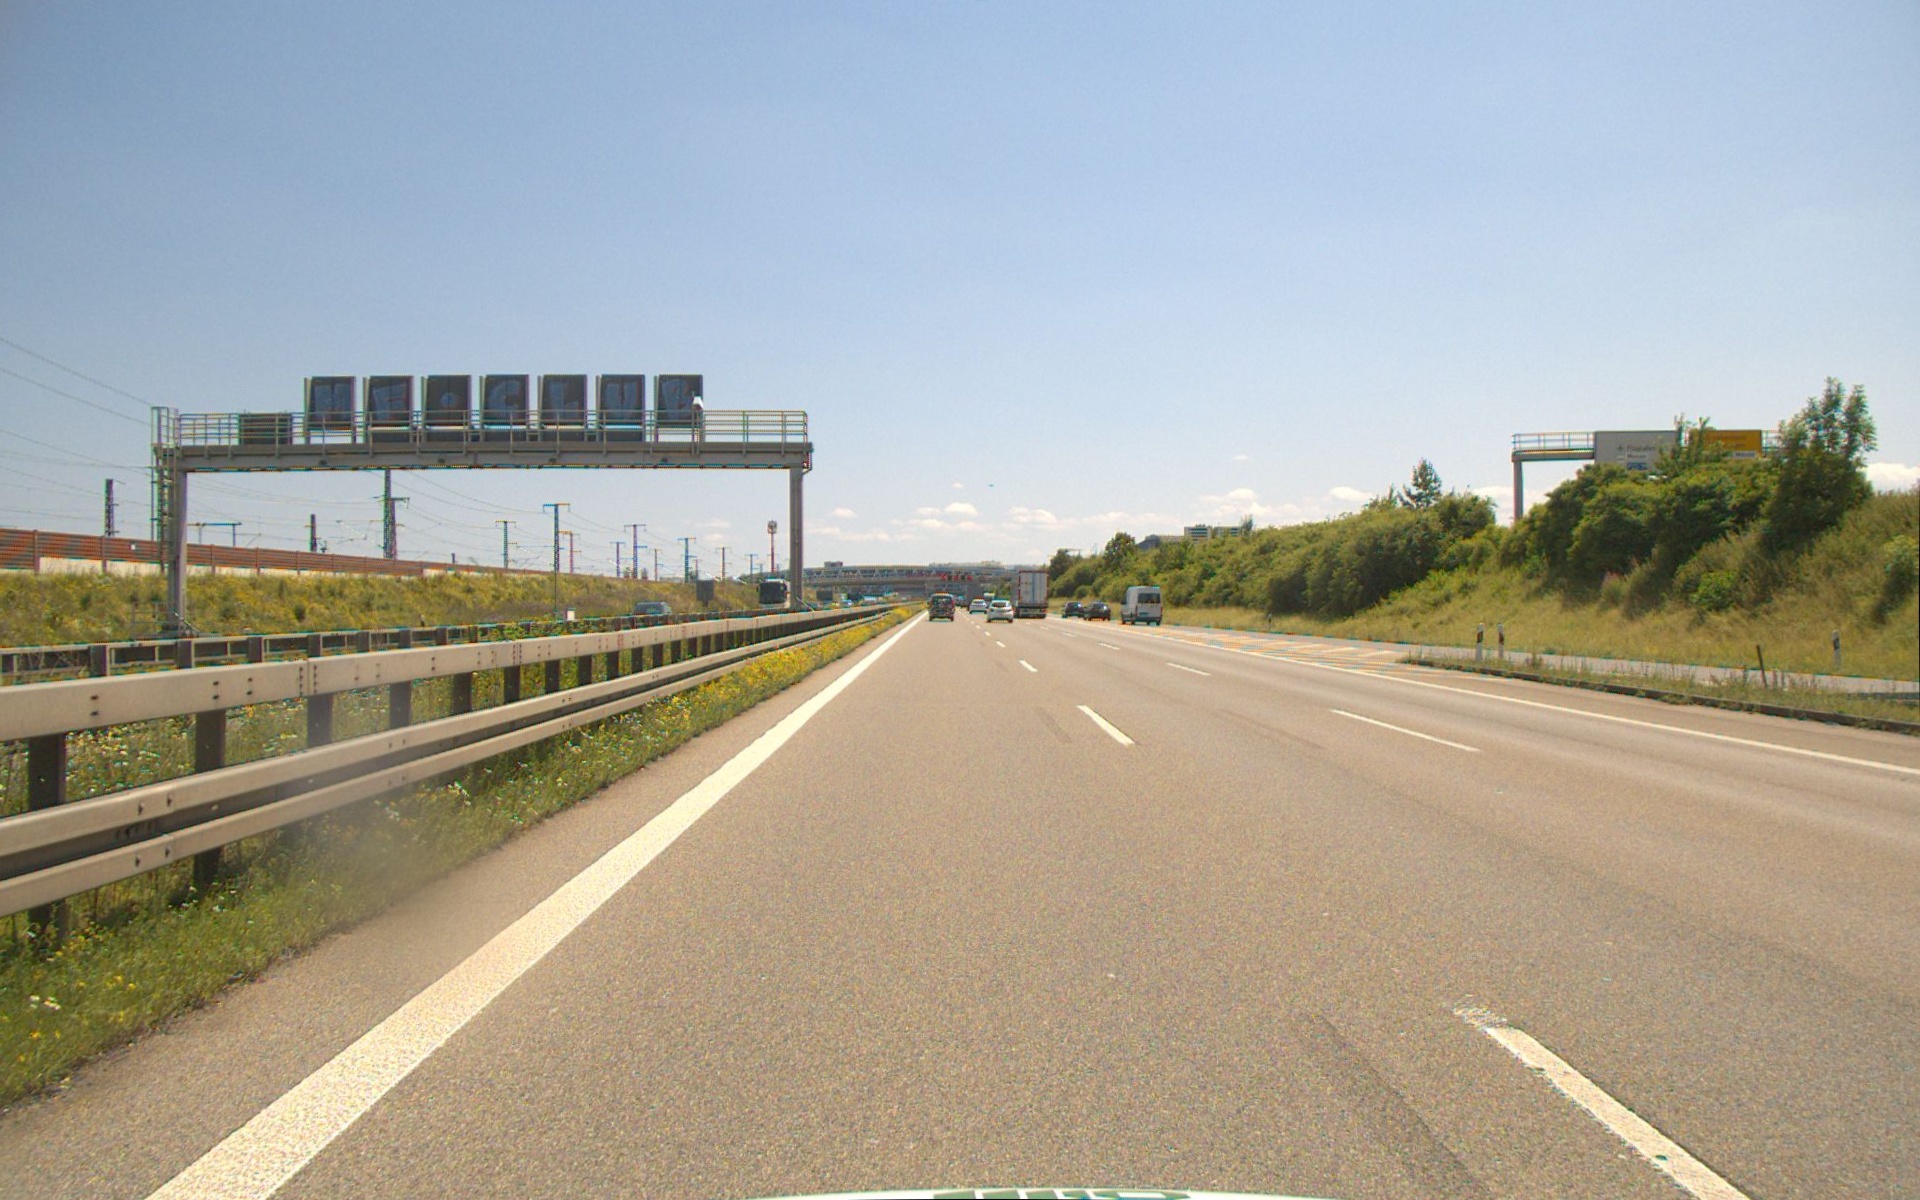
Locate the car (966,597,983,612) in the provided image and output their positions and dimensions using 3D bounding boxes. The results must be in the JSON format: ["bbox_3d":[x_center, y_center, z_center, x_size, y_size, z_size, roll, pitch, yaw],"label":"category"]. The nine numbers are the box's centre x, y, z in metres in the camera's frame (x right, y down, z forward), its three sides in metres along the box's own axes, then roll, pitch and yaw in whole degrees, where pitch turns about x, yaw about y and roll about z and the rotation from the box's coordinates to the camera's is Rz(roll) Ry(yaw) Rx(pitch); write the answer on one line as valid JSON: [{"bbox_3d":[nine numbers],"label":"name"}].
[{"bbox_3d":[1.536,0.451,178.720,1.842,1.553,4.000,1,-1,0],"label":"car"}]

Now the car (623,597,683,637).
[{"bbox_3d":[-12.911,0.685,69.765,1.767,1.601,4.000,0,0,0],"label":"car"}]

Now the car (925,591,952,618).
[{"bbox_3d":[-1.457,0.318,115.385,1.842,1.806,3.999,0,-1,-1],"label":"car"}]

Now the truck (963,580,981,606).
[{"bbox_3d":[1.589,-0.927,221.927,2.307,3.476,6.056,0,0,0],"label":"truck"}]

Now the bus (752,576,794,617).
[{"bbox_3d":[-17.828,-0.384,158.427,2.799,3.709,10.939,2,0,-1],"label":"bus"}]

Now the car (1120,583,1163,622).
[{"bbox_3d":[12.462,0.170,113.663,2.228,2.572,5.398,0,0,-2],"label":"car"}]

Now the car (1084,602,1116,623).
[{"bbox_3d":[11.193,1.038,132.316,1.954,1.534,3.997,2,-1,-3],"label":"car"}]

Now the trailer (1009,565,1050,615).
[{"bbox_3d":[6.039,-0.853,144.506,3.112,4.130,9.438,-1,0,0],"label":"trailer"}]

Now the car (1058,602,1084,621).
[{"bbox_3d":[10.195,1.101,152.274,1.953,1.624,3.998,2,-1,-1],"label":"car"}]

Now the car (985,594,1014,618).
[{"bbox_3d":[2.674,0.421,111.779,1.841,1.553,4.001,1,-1,2],"label":"car"}]
